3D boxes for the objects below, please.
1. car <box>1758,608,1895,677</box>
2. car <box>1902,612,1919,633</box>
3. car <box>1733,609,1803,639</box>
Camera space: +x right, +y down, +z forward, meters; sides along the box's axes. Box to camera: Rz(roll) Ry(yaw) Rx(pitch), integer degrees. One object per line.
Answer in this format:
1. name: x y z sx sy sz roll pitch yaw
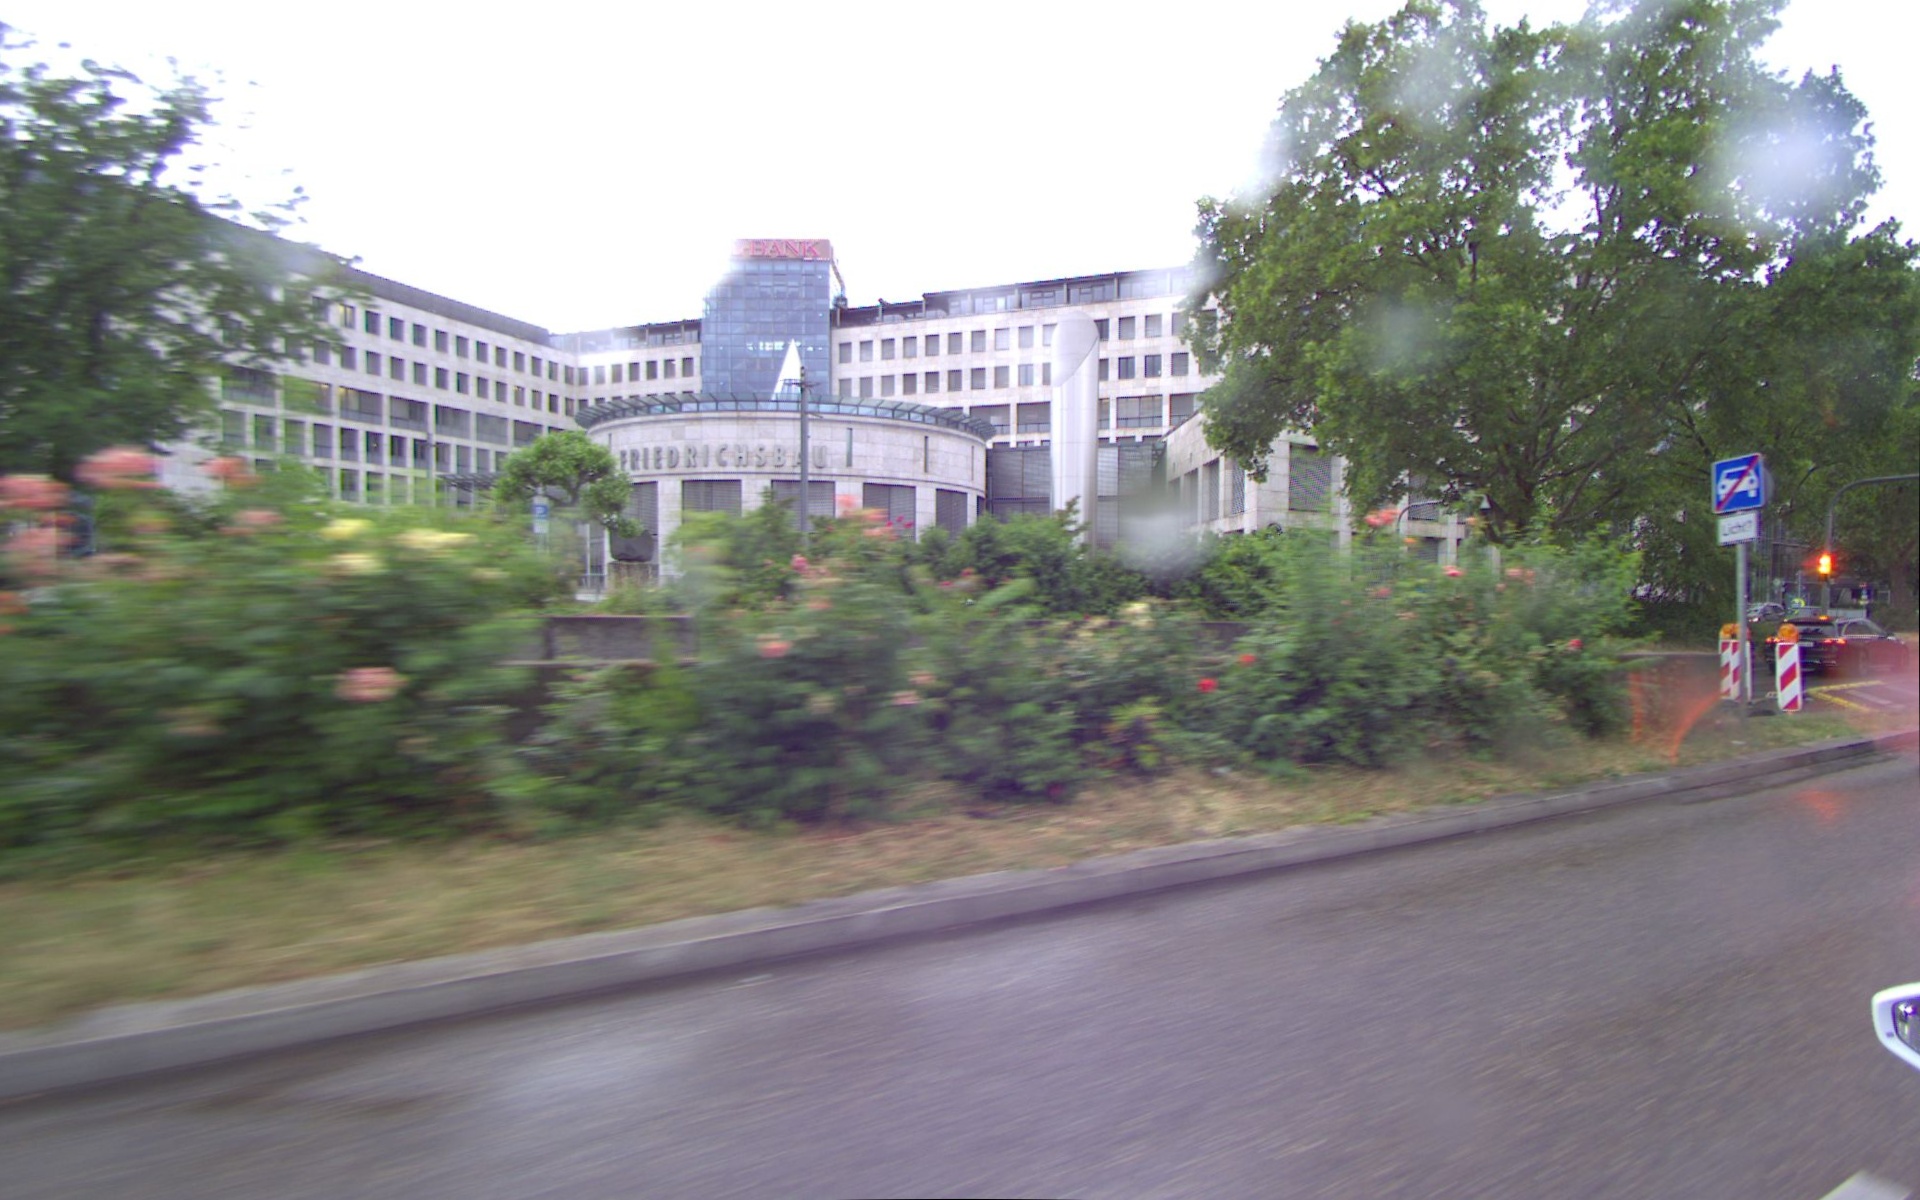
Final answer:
1. car: 22.476 1.041 26.031 3.958 1.641 1.689 0 1 -34
2. car: 72.858 1.675 75.822 4.458 1.530 1.781 1 -1 -37
3. car: 41.947 1.228 52.117 4.458 1.530 1.781 1 -1 -37
